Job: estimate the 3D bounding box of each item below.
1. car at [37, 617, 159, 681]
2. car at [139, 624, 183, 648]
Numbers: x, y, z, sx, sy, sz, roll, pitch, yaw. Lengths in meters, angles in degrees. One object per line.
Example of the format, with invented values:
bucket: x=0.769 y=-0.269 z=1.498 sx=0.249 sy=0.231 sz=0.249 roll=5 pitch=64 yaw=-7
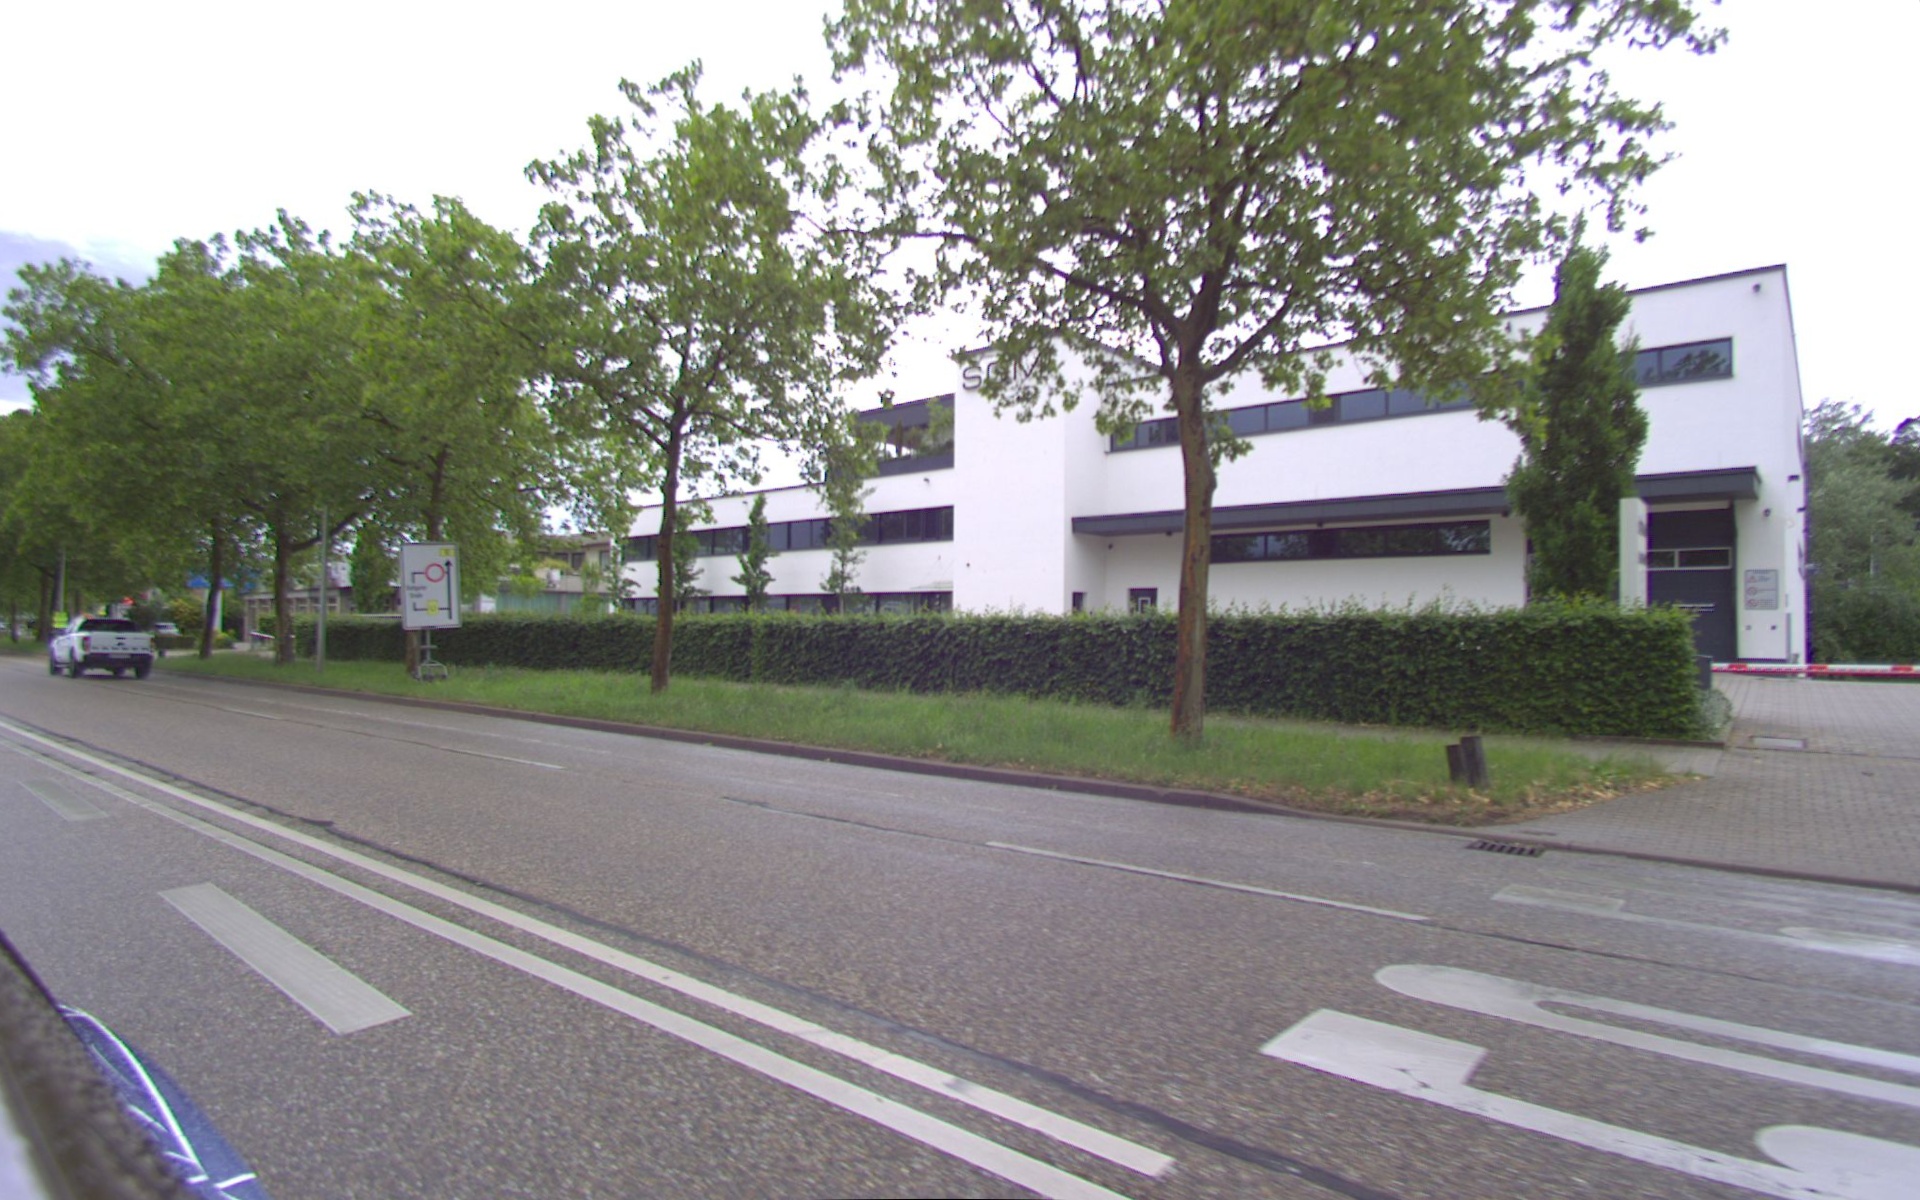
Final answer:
car: x=-26.564 y=1.488 z=31.115 sx=5.336 sy=1.819 sz=1.892 roll=-1 pitch=-4 yaw=40
car: x=-56.178 y=2.525 z=71.122 sx=3.999 sy=1.545 sz=1.723 roll=-1 pitch=-4 yaw=42
